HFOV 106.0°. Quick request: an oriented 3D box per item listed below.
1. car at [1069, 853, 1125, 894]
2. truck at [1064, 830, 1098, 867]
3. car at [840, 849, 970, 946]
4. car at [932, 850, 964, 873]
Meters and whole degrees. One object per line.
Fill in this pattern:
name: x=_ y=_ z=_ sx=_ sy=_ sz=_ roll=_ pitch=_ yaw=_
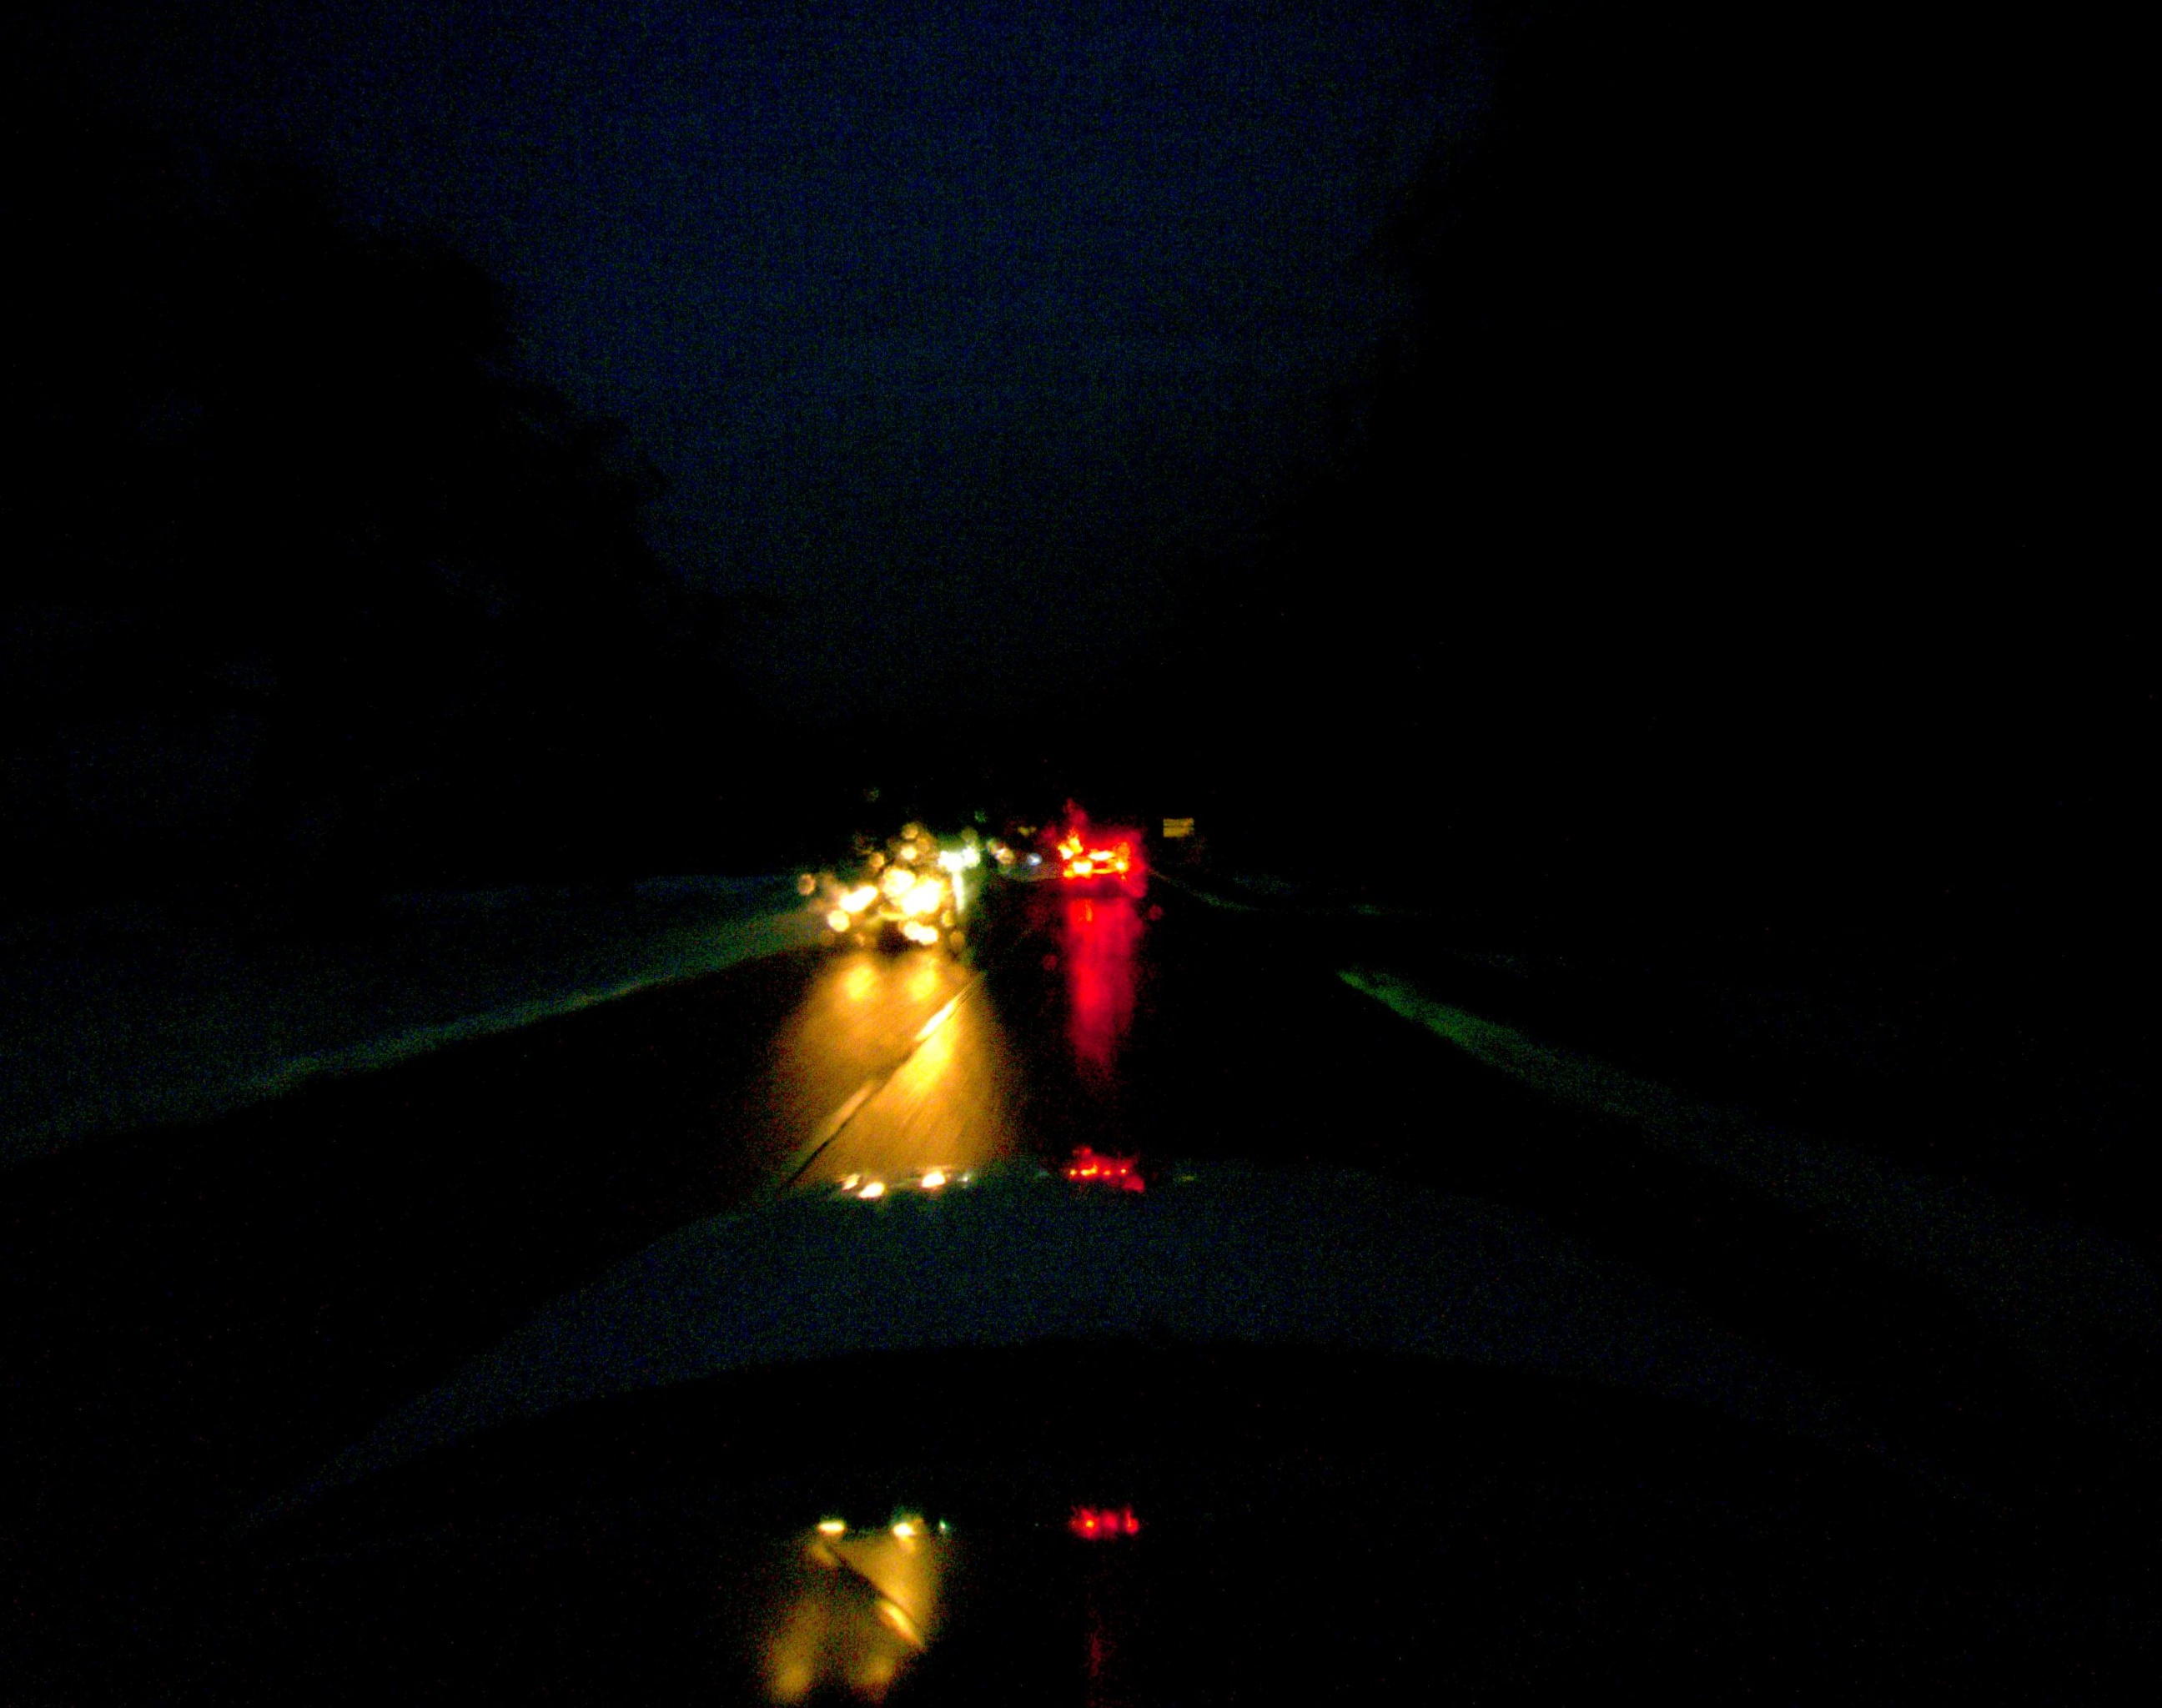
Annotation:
car: x=0.550 y=0.677 z=30.716 sx=1.916 sy=1.276 sz=3.999 roll=-2 pitch=2 yaw=-1
truck: x=-0.044 y=-0.434 z=63.453 sx=2.073 sy=2.745 sz=5.308 roll=-2 pitch=1 yaw=-6
car: x=-3.543 y=0.789 z=17.219 sx=1.747 sy=1.693 sz=4.424 roll=-3 pitch=1 yaw=-1
car: x=-9.617 y=0.517 z=59.078 sx=1.738 sy=1.486 sz=4.000 roll=-4 pitch=1 yaw=-3
